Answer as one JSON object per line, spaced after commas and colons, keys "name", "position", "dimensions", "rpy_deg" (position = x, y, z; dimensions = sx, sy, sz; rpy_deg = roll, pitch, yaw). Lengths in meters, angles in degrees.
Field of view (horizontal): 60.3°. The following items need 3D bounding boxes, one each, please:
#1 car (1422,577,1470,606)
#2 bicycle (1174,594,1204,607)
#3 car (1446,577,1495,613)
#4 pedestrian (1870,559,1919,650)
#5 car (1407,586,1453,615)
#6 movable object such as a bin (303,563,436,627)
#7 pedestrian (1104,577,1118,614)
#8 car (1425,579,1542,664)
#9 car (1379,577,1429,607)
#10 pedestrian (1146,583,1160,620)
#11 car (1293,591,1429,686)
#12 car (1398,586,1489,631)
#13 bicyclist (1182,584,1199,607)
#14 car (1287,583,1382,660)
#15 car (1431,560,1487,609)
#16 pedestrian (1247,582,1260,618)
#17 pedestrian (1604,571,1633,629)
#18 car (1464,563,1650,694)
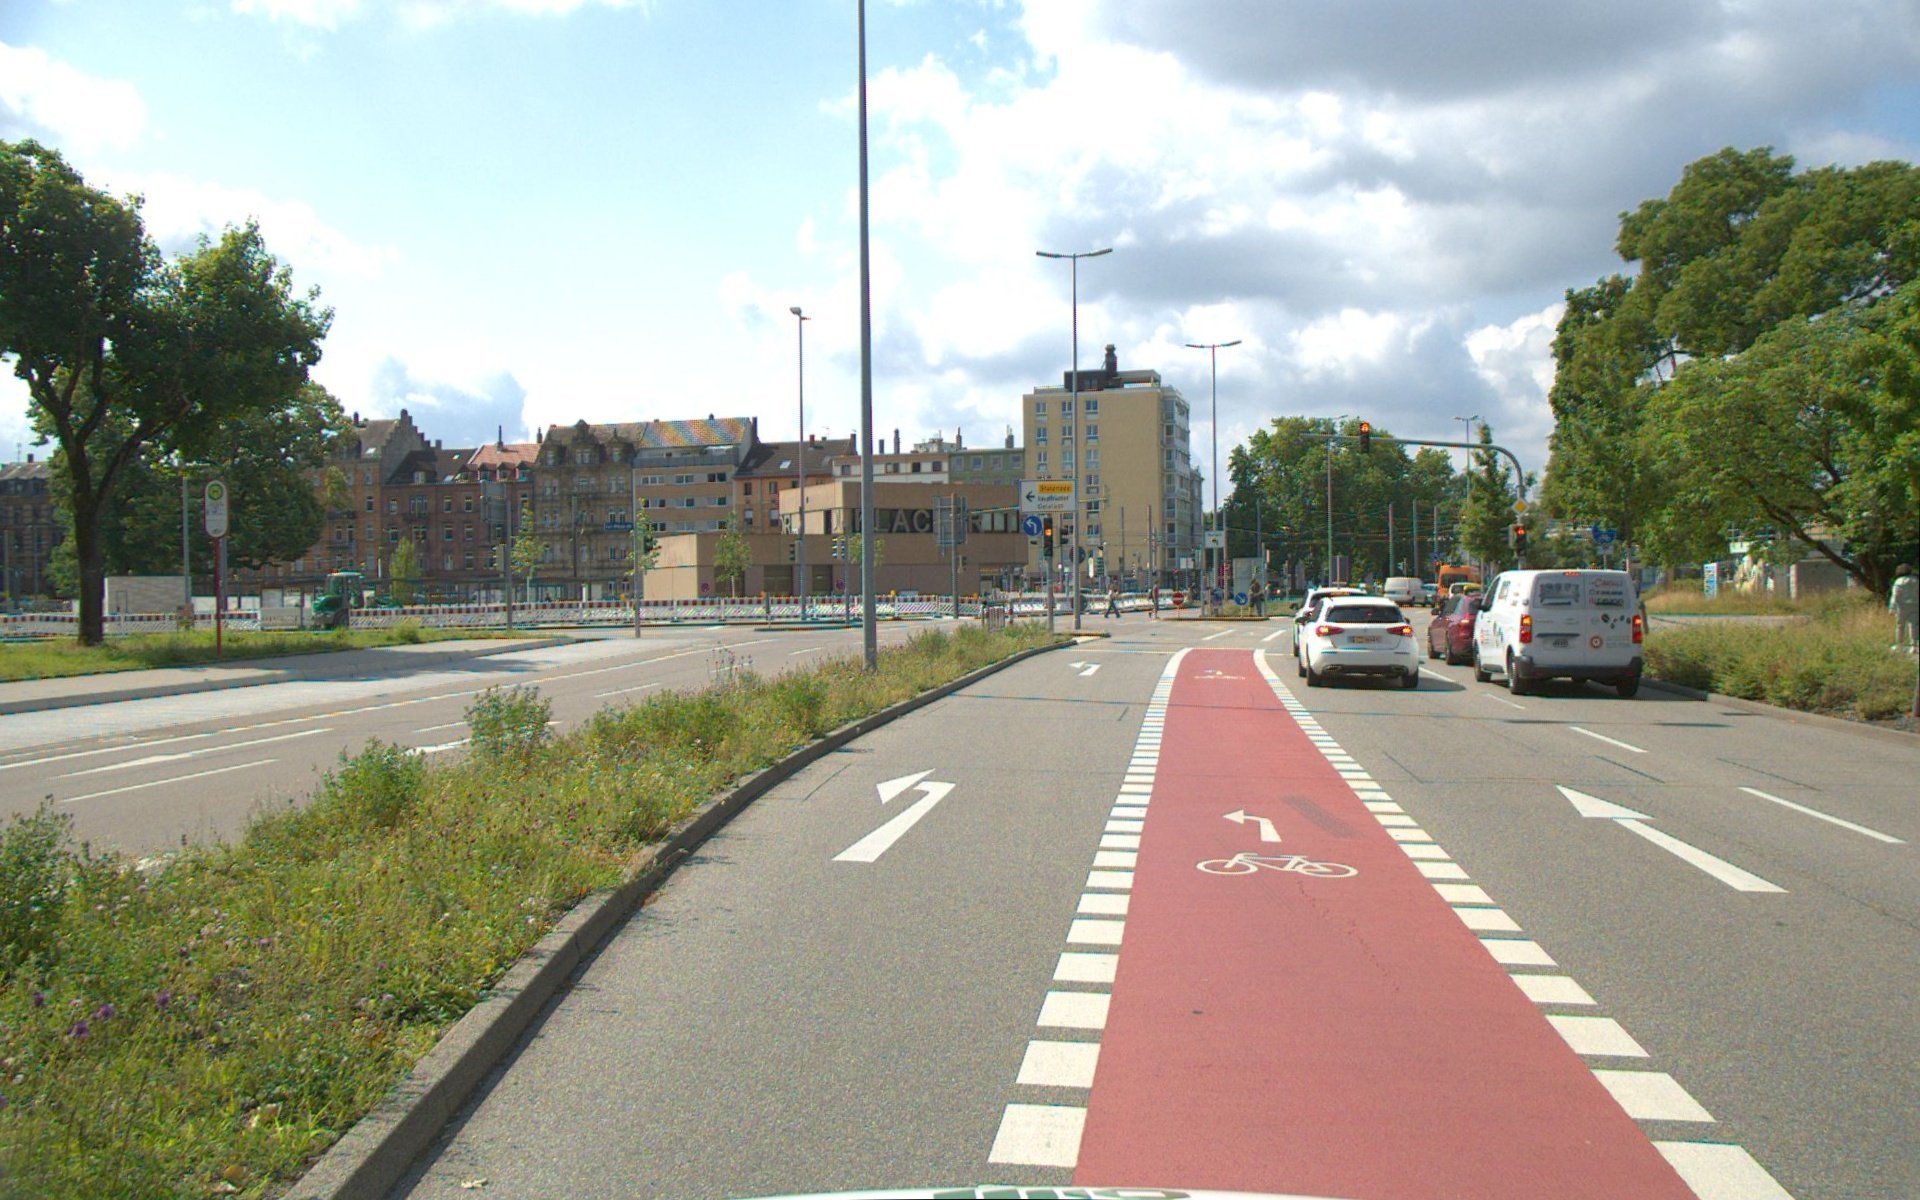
{"name": "car", "position": [32.299, -0.581, 109.930], "dimensions": [1.958, 1.858, 3.989], "rpy_deg": [-2, 0, 33]}
{"name": "bicycle", "position": [19.364, 0.065, 139.975], "dimensions": [2.334, 1.085, 0.857], "rpy_deg": [-1, 0, 29]}
{"name": "car", "position": [27.729, -0.283, 89.802], "dimensions": [1.954, 1.826, 3.997], "rpy_deg": [-1, 0, 26]}
{"name": "pedestrian", "position": [17.599, 0.082, 30.883], "dimensions": [0.849, 1.667, 0.721], "rpy_deg": [-1, 0, 10]}
{"name": "car", "position": [34.052, 0.028, 119.696], "dimensions": [1.955, 1.972, 4.627], "rpy_deg": [-2, 0, 32]}
{"name": "movable object such as a bin", "position": [-27.773, -0.248, 77.874], "dimensions": [5.488, 2.935, 2.256], "rpy_deg": [-1, 0, -39]}
{"name": "pedestrian", "position": [7.246, -0.231, 79.398], "dimensions": [0.513, 1.764, 0.624], "rpy_deg": [-1, 0, 18]}
{"name": "car", "position": [10.960, 0.402, 34.892], "dimensions": [1.645, 1.670, 4.466], "rpy_deg": [0, 1, 8]}
{"name": "car", "position": [30.177, -0.558, 112.357], "dimensions": [1.969, 2.001, 4.627], "rpy_deg": [-2, 0, 32]}
{"name": "pedestrian", "position": [9.075, 0.068, 77.720], "dimensions": [0.513, 1.764, 0.624], "rpy_deg": [-1, 0, 18]}
{"name": "car", "position": [6.738, 0.594, 28.178], "dimensions": [1.863, 1.448, 4.389], "rpy_deg": [-1, 1, 9]}
{"name": "car", "position": [21.672, 0.380, 74.076], "dimensions": [3.960, 1.847, 1.972], "rpy_deg": [2, 0, -39]}
{"name": "bicyclist", "position": [19.513, -0.365, 139.887], "dimensions": [1.196, 1.943, 0.857], "rpy_deg": [-1, 0, 29]}
{"name": "car", "position": [8.234, 0.429, 36.652], "dimensions": [1.753, 1.566, 4.014], "rpy_deg": [1, 1, 9]}
{"name": "car", "position": [30.240, -0.940, 100.100], "dimensions": [2.091, 2.829, 4.627], "rpy_deg": [-2, 0, 32]}
{"name": "pedestrian", "position": [13.866, -0.006, 78.037], "dimensions": [0.513, 1.713, 0.624], "rpy_deg": [-1, 0, 18]}
{"name": "pedestrian", "position": [20.401, -0.006, 51.255], "dimensions": [0.726, 1.766, 0.679], "rpy_deg": [-1, 0, 12]}
{"name": "car", "position": [9.494, 0.397, 26.685], "dimensions": [1.901, 1.902, 4.829], "rpy_deg": [-1, 1, 9]}
